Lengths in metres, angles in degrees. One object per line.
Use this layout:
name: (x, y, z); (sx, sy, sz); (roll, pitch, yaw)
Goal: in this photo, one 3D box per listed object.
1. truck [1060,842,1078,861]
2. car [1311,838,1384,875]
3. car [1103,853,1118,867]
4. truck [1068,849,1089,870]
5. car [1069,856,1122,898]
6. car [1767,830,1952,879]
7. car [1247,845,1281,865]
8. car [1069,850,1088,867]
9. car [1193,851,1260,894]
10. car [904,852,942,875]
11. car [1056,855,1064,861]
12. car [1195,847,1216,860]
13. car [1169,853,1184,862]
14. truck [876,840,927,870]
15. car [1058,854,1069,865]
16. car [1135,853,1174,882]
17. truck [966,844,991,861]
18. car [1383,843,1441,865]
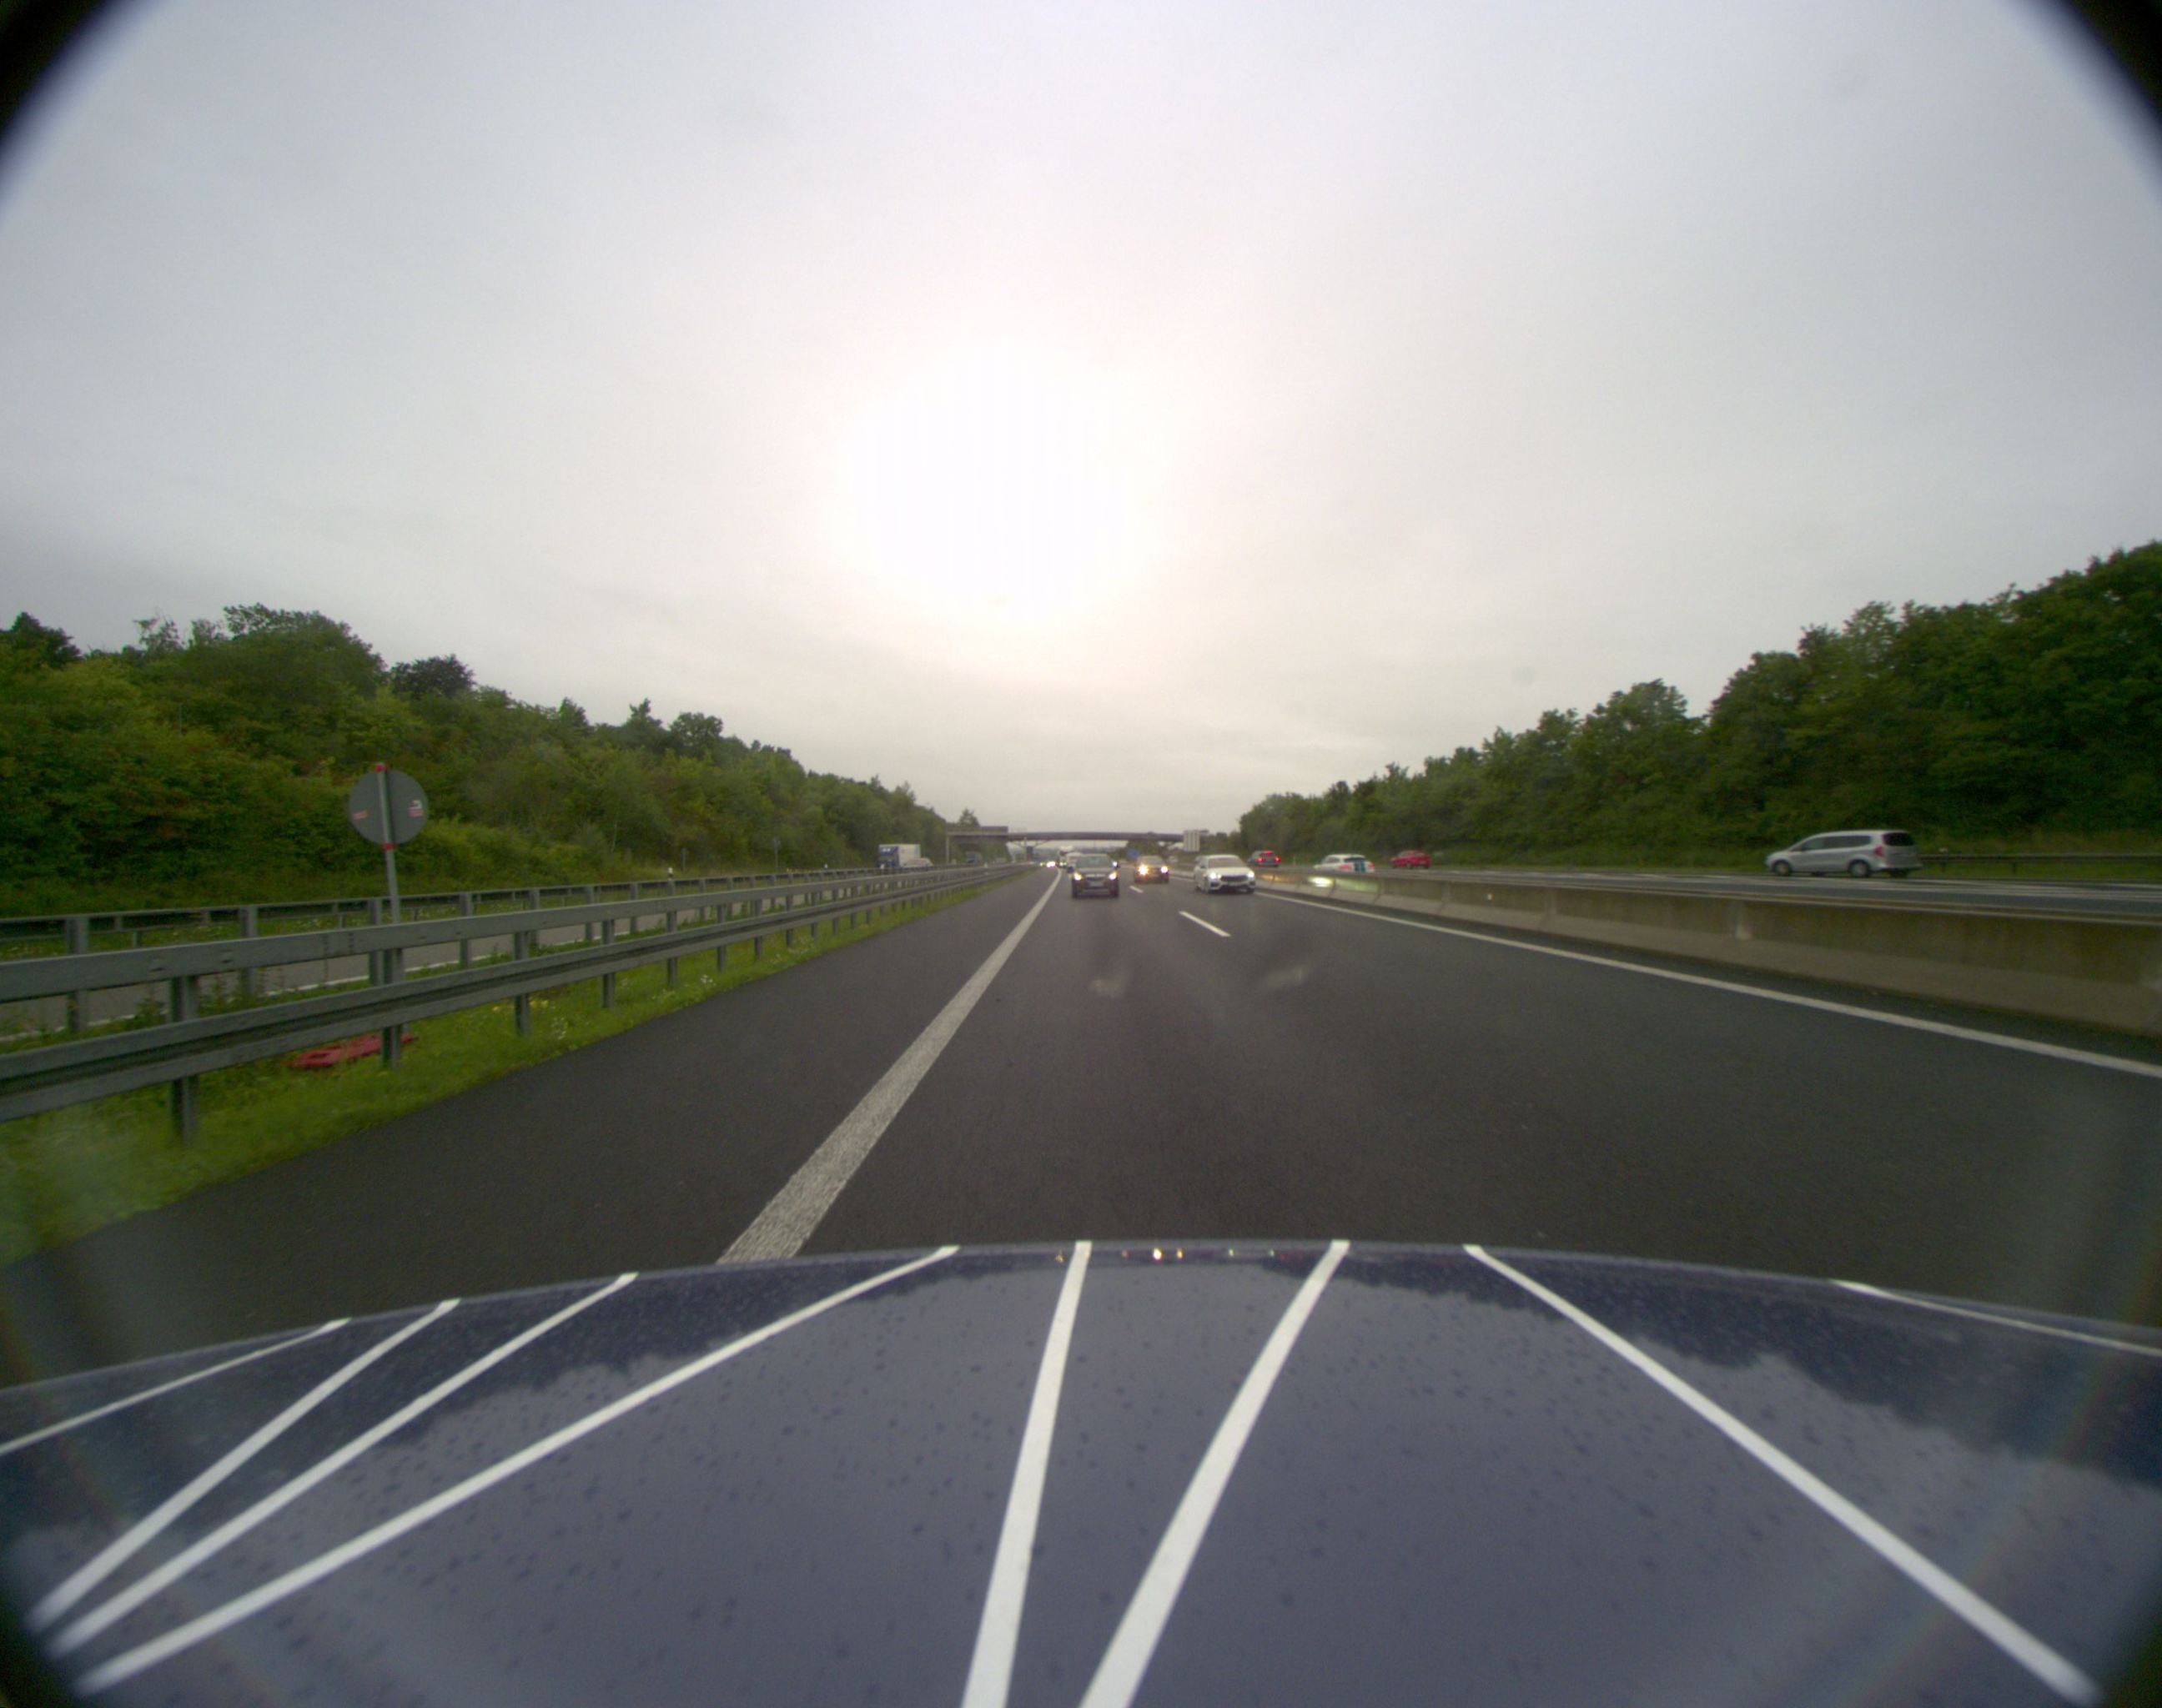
truck: (-2.197, -0.483, 143.456); (3.154, 3.332, 13.099); (-2, 0, 0)
car: (13.245, 0.134, 38.121); (2.185, 1.686, 4.865); (-1, 0, 3)
car: (3.765, 0.692, 97.955); (1.716, 1.724, 3.999); (-1, 0, -1)
truck: (-0.290, 0.594, 86.202); (2.175, 2.214, 5.642); (-1, 0, 1)
car: (0.574, 0.847, 29.764); (1.905, 1.497, 4.114); (-1, 0, 1)
car: (29.720, 0.016, 29.262); (2.187, 1.686, 4.565); (-1, 0, -8)
car: (16.295, 0.089, 67.872); (2.185, 1.686, 4.733); (-1, 0, 3)
car: (-0.209, 0.474, 79.163); (1.825, 1.669, 4.000); (-2, 0, 2)
car: (5.610, 0.676, 29.735); (1.905, 1.497, 4.114); (-1, 0, 1)
car: (-12.389, 0.730, 59.967); (2.013, 1.645, 4.472); (-1, 0, 0)
car: (-6.244, 1.262, 225.080); (1.917, 1.671, 4.000); (-1, 0, 1)
car: (16.689, -0.112, 101.974); (2.185, 1.686, 5.251); (-1, 0, 3)
car: (18.007, 0.597, 143.228); (2.185, 1.625, 4.537); (-1, 0, 1)
truck: (-21.544, 0.079, 91.708); (2.907, 3.397, 9.287); (-1, 0, 7)
car: (-2.769, 0.820, 123.401); (1.716, 1.724, 3.999); (-1, 0, -1)
car: (4.105, 0.739, 43.106); (1.905, 1.497, 4.114); (-1, 0, 1)
truck: (-21.514, -0.319, 160.582); (2.908, 3.397, 13.355); (-1, 0, 3)
car: (27.175, -0.025, 62.556); (2.187, 1.686, 4.624); (-1, 0, -9)
